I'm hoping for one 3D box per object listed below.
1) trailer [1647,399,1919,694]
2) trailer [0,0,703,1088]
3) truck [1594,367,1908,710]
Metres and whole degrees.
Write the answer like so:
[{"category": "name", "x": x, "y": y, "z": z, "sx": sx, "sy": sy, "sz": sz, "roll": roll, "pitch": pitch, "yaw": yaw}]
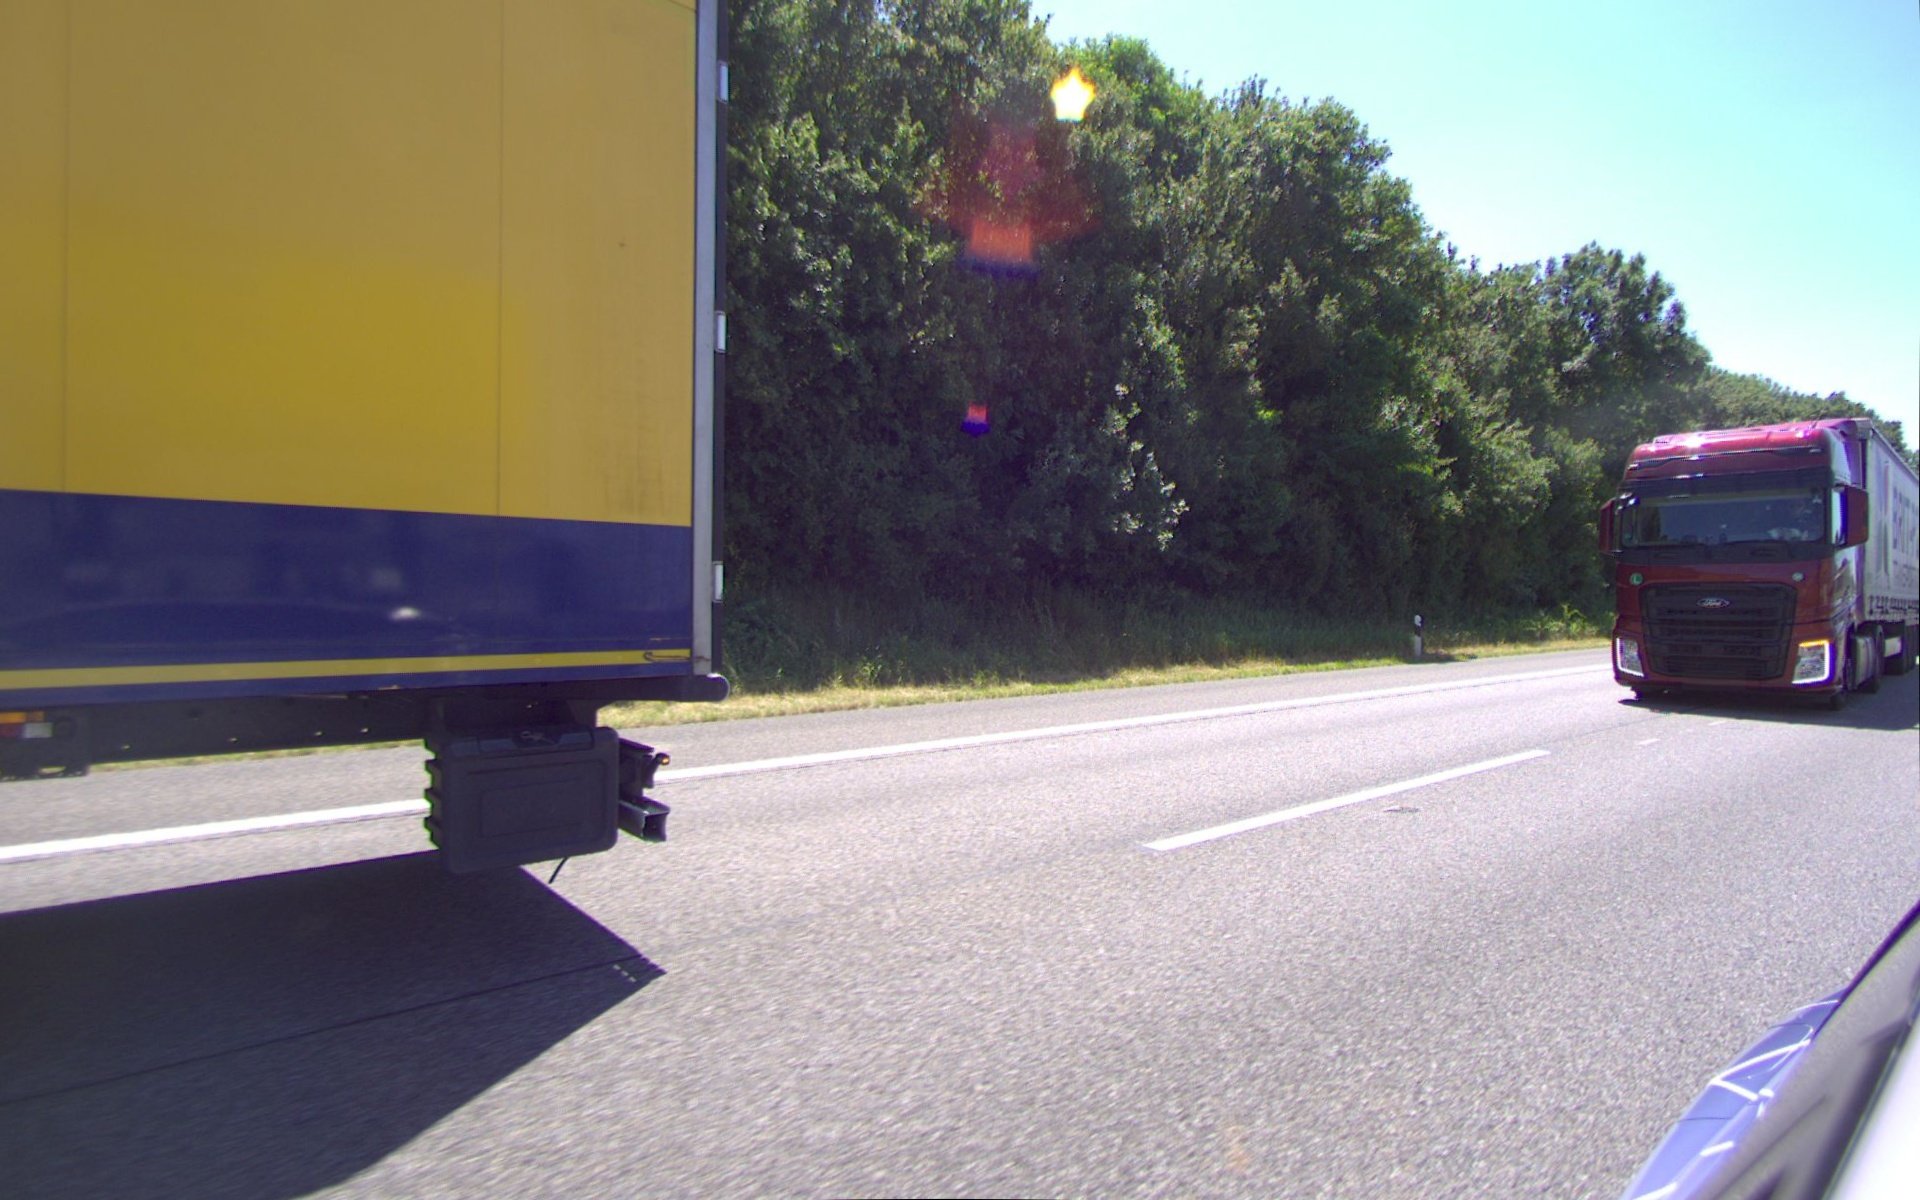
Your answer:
[{"category": "trailer", "x": 16.992, "y": -0.790, "z": 19.866, "sx": 13.602, "sy": 4.121, "sz": 2.881, "roll": 0, "pitch": 0, "yaw": -43}, {"category": "trailer", "x": -7.027, "y": -0.736, "z": 0.636, "sx": 13.593, "sy": 4.121, "sz": 2.682, "roll": 0, "pitch": 0, "yaw": -41}, {"category": "truck", "x": 11.983, "y": -0.767, "z": 15.157, "sx": 5.674, "sy": 4.121, "sz": 2.866, "roll": 0, "pitch": 0, "yaw": -43}]
